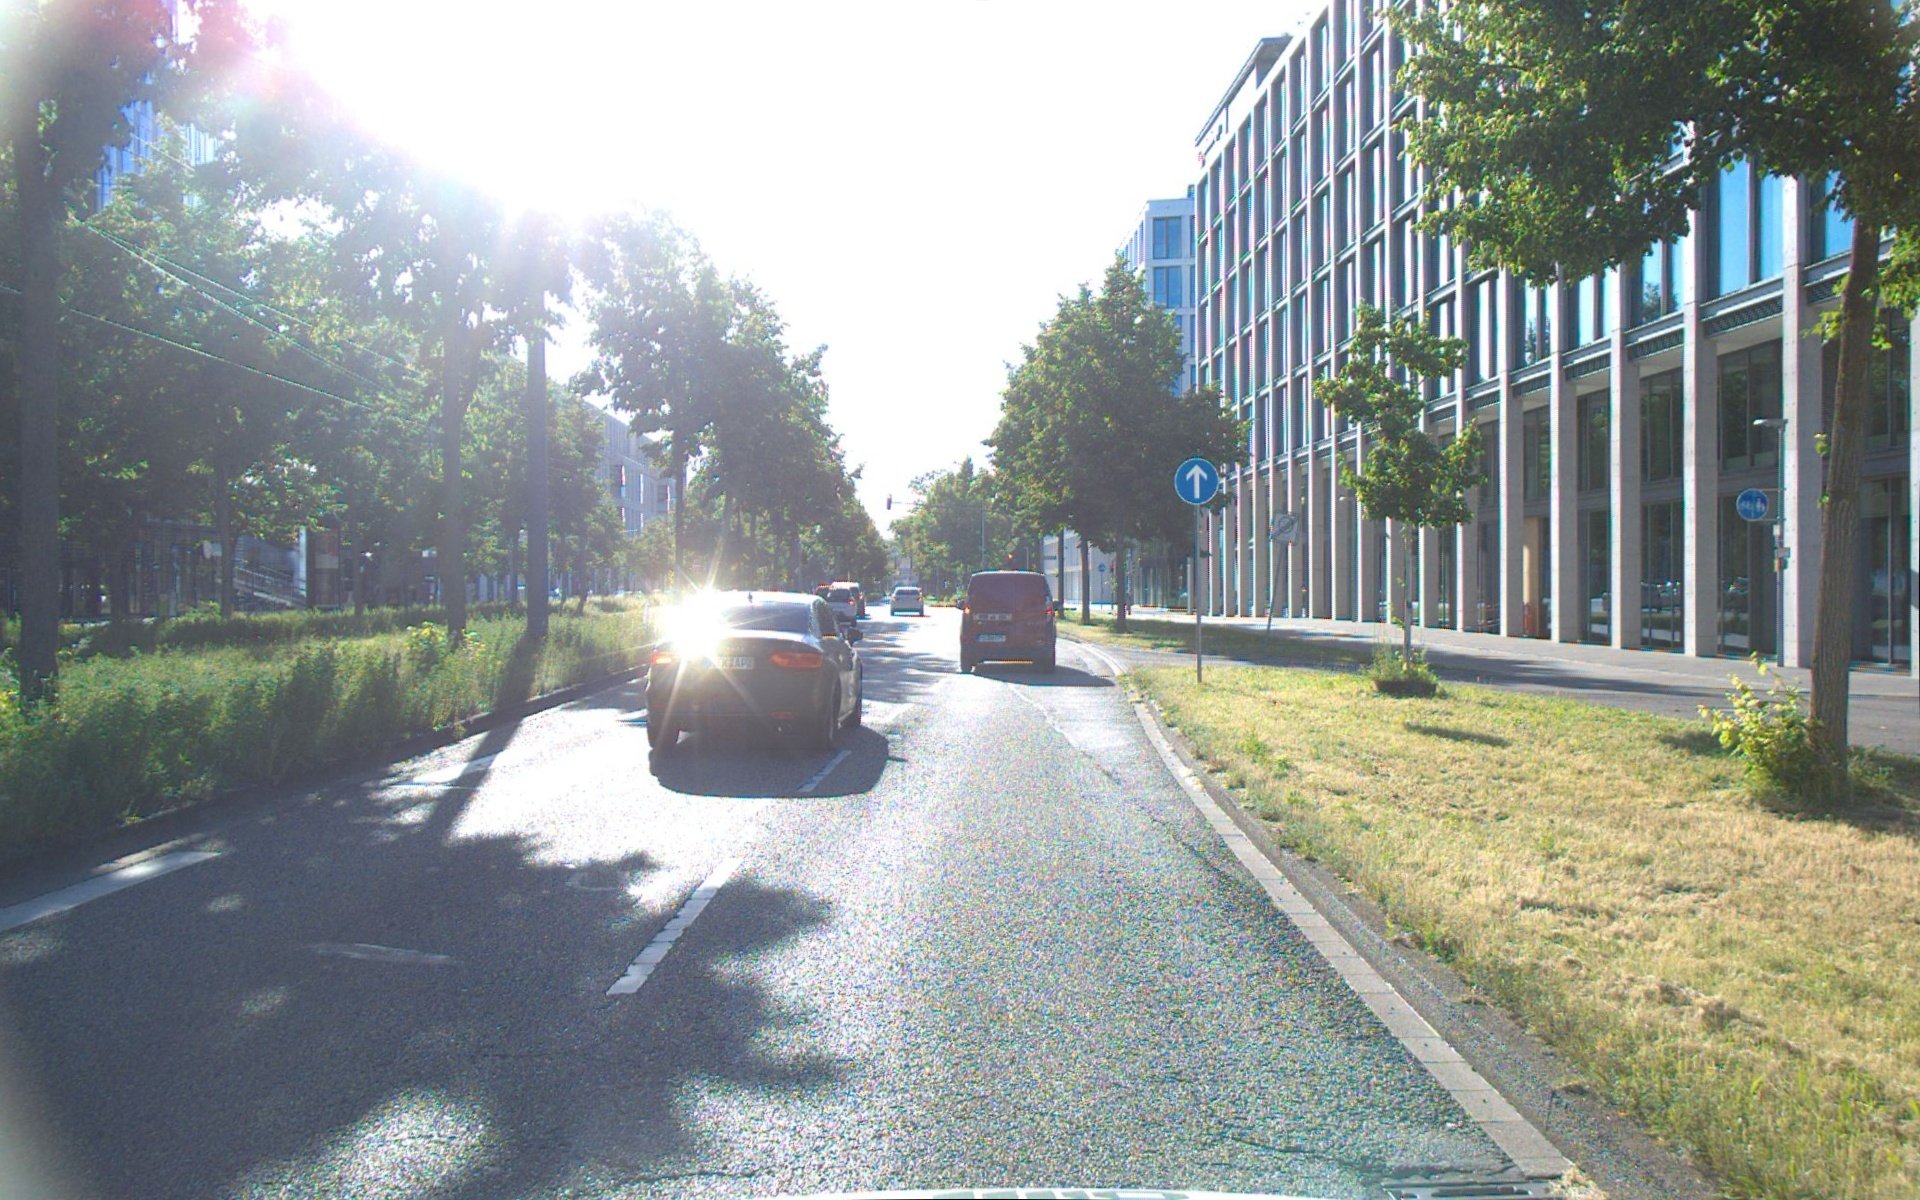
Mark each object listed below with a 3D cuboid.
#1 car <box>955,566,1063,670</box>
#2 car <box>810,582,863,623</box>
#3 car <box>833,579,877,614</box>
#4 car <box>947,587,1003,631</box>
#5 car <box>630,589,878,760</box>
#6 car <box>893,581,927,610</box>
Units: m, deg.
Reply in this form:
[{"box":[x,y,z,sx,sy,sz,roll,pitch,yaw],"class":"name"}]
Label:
[{"box":[0.850,0.278,31.140,1.761,1.808,3.999,1,1,-2],"class":"car"},{"box":[-4.554,0.062,61.327,1.904,1.466,3.997,0,1,-4],"class":"car"},{"box":[-4.854,-0.145,76.760,1.805,1.561,3.939,0,0,-1],"class":"car"},{"box":[0.517,0.312,60.224,1.687,1.450,3.814,2,1,-4],"class":"car"},{"box":[-1.839,0.614,15.994,1.685,1.390,4.147,1,1,3],"class":"car"},{"box":[-2.573,-0.223,84.349,1.686,1.450,3.815,0,1,-2],"class":"car"}]
